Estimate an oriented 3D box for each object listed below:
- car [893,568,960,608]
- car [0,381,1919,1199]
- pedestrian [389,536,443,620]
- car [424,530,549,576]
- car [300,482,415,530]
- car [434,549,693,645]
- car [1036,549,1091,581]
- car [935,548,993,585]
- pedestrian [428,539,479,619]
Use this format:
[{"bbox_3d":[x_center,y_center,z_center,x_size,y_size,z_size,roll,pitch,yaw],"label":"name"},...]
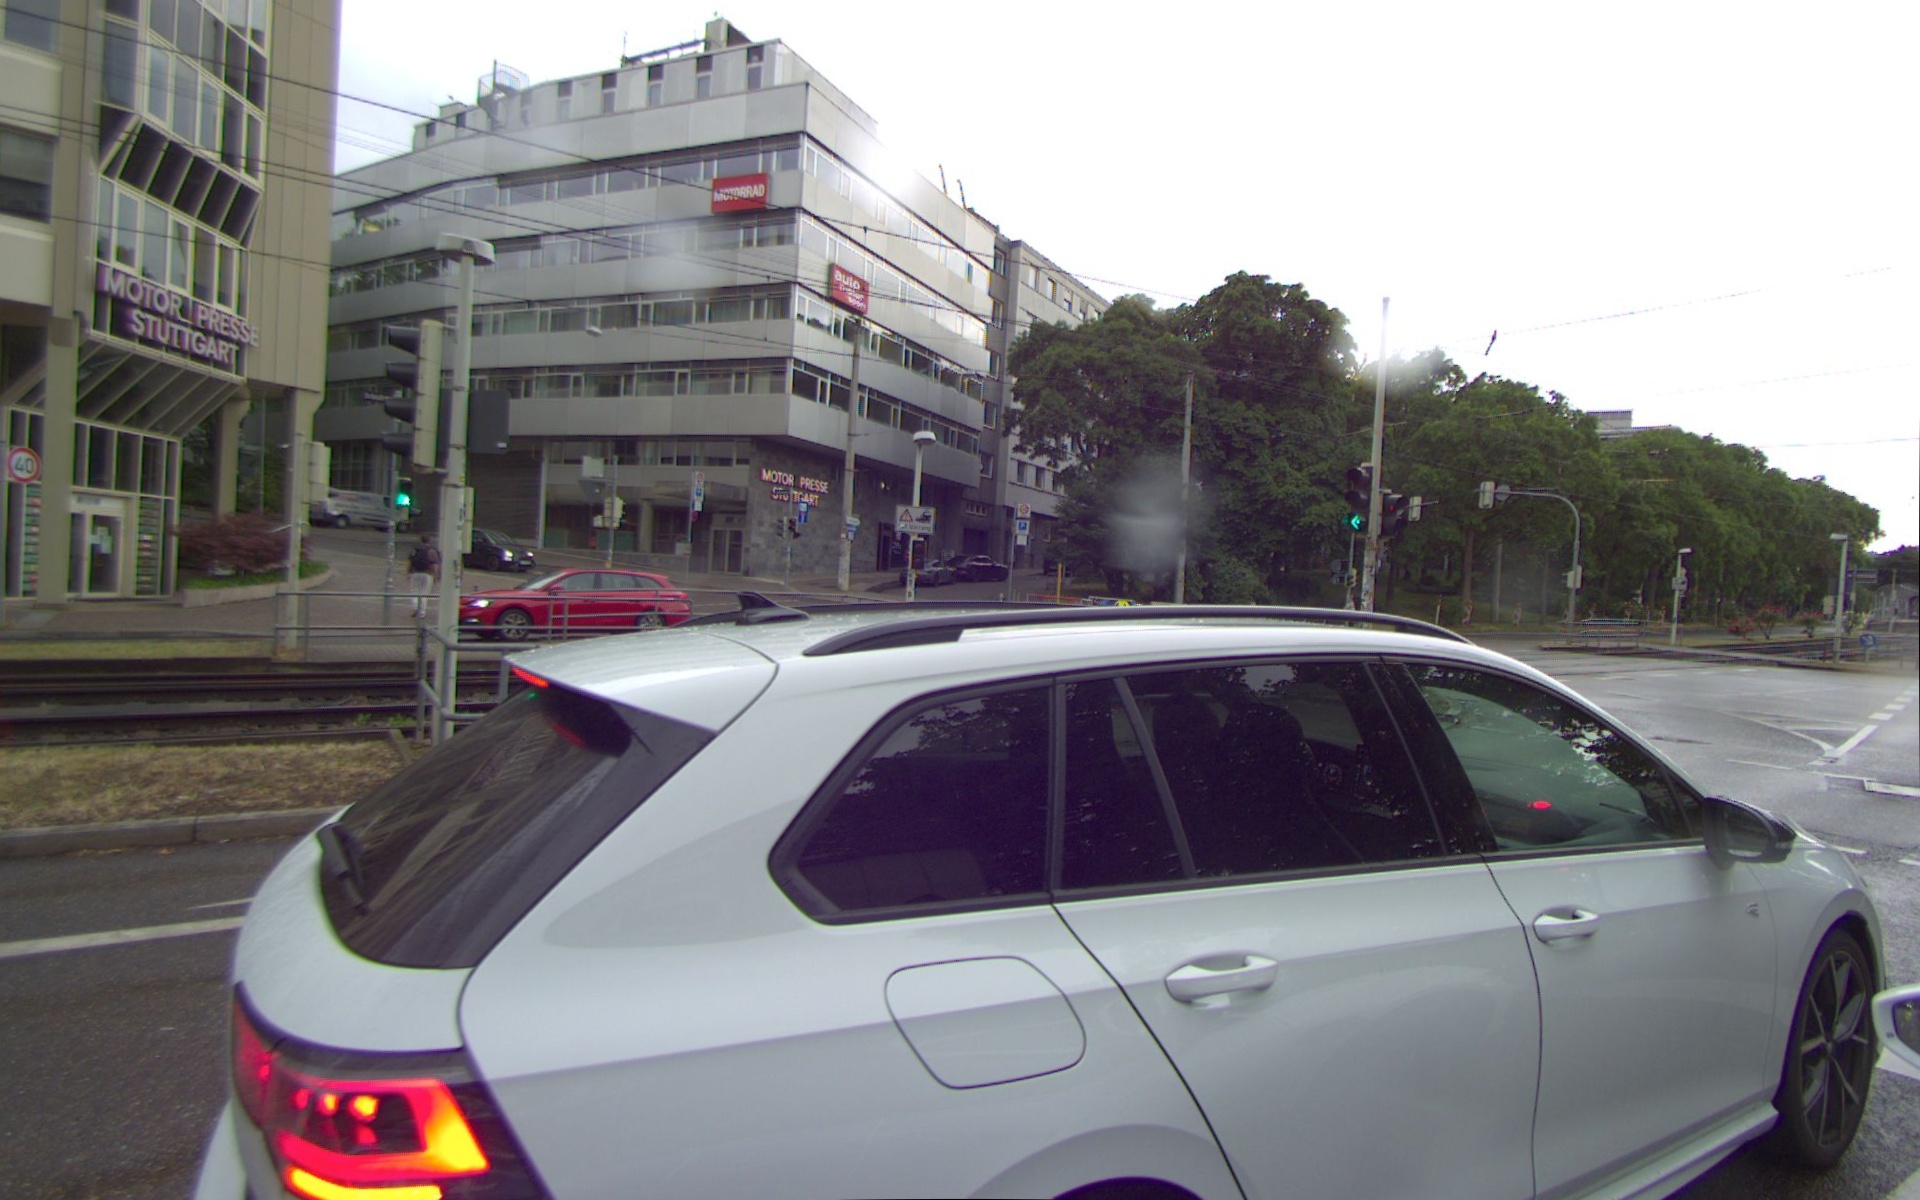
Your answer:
[{"bbox_3d":[-1.641,-0.604,51.014,1.961,1.818,3.999,5,2,19],"label":"car"},{"bbox_3d":[0.532,0.653,2.509,4.203,1.597,1.670,1,1,-31],"label":"car"},{"bbox_3d":[-12.262,-0.489,22.656,0.630,1.811,0.808,6,3,36],"label":"pedestrian"},{"bbox_3d":[-17.630,-1.744,37.424,3.920,1.383,1.830,5,2,16],"label":"car"},{"bbox_3d":[-31.615,-4.921,52.866,1.963,2.040,4.831,5,2,26],"label":"car"},{"bbox_3d":[-7.844,-0.027,20.132,4.385,1.662,1.962,2,2,-43],"label":"car"},{"bbox_3d":[6.858,-2.265,66.157,1.964,1.818,4.202,5,2,30],"label":"car"},{"bbox_3d":[0.262,-1.915,55.874,1.961,1.818,3.998,5,5,19],"label":"car"},{"bbox_3d":[-11.817,-0.479,23.445,0.630,1.811,0.808,6,3,36],"label":"pedestrian"}]
